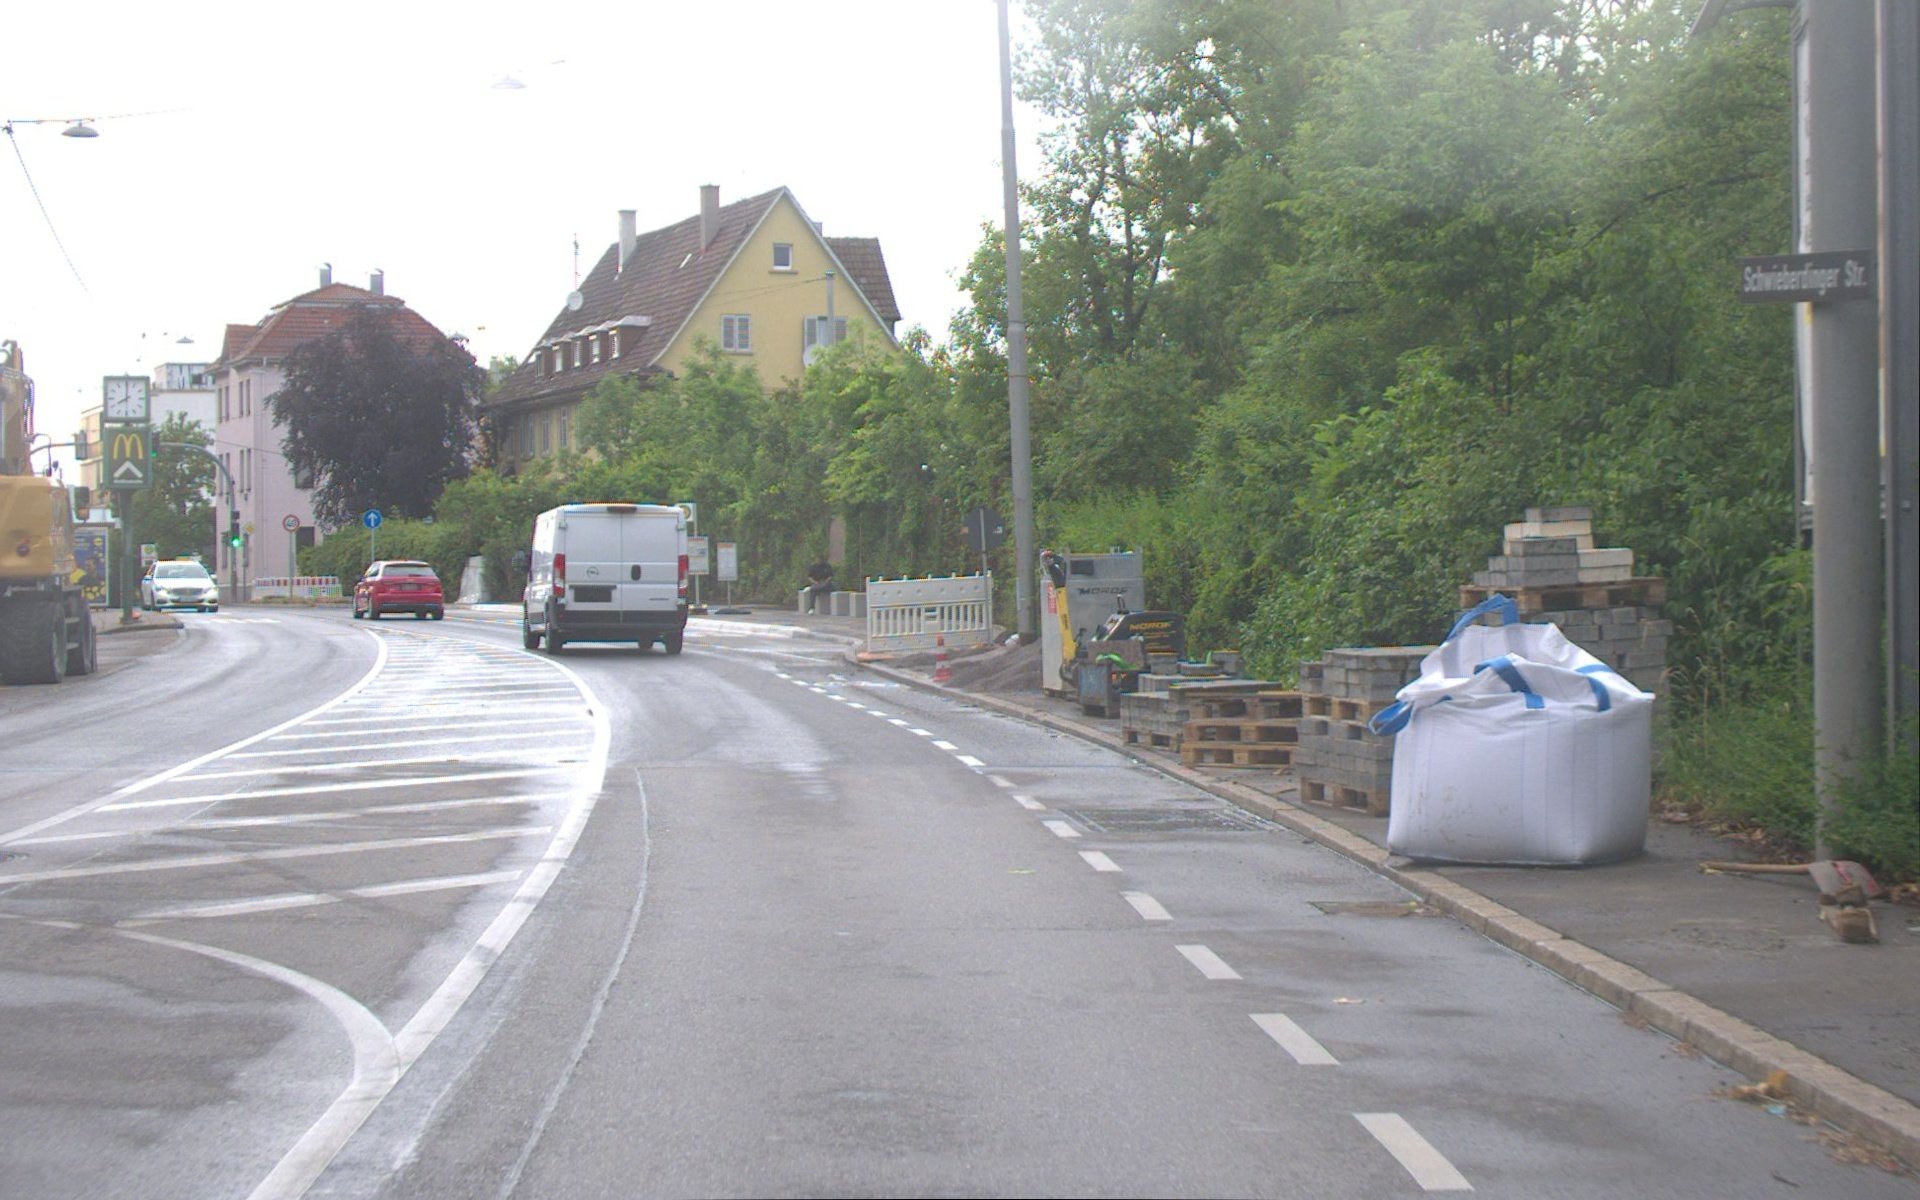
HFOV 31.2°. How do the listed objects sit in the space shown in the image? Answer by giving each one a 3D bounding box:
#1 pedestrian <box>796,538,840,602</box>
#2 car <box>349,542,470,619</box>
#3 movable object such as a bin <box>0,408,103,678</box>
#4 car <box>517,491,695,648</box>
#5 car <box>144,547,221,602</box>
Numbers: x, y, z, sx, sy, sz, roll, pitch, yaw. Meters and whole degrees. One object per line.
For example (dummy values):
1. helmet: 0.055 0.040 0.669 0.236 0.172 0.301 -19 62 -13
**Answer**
1. pedestrian: -3.107 -0.658 75.337 0.878 1.362 1.066 1 2 -6
2. car: -13.373 -0.491 83.311 2.237 1.651 4.715 0 3 -17
3. movable object such as a bin: -12.282 -0.747 42.318 2.871 3.162 4.126 1 2 -7
4. car: -5.480 -0.518 52.724 2.237 2.205 4.715 1 3 -12
5. car: -22.416 -0.721 99.033 1.928 1.550 4.621 1 0 -16
